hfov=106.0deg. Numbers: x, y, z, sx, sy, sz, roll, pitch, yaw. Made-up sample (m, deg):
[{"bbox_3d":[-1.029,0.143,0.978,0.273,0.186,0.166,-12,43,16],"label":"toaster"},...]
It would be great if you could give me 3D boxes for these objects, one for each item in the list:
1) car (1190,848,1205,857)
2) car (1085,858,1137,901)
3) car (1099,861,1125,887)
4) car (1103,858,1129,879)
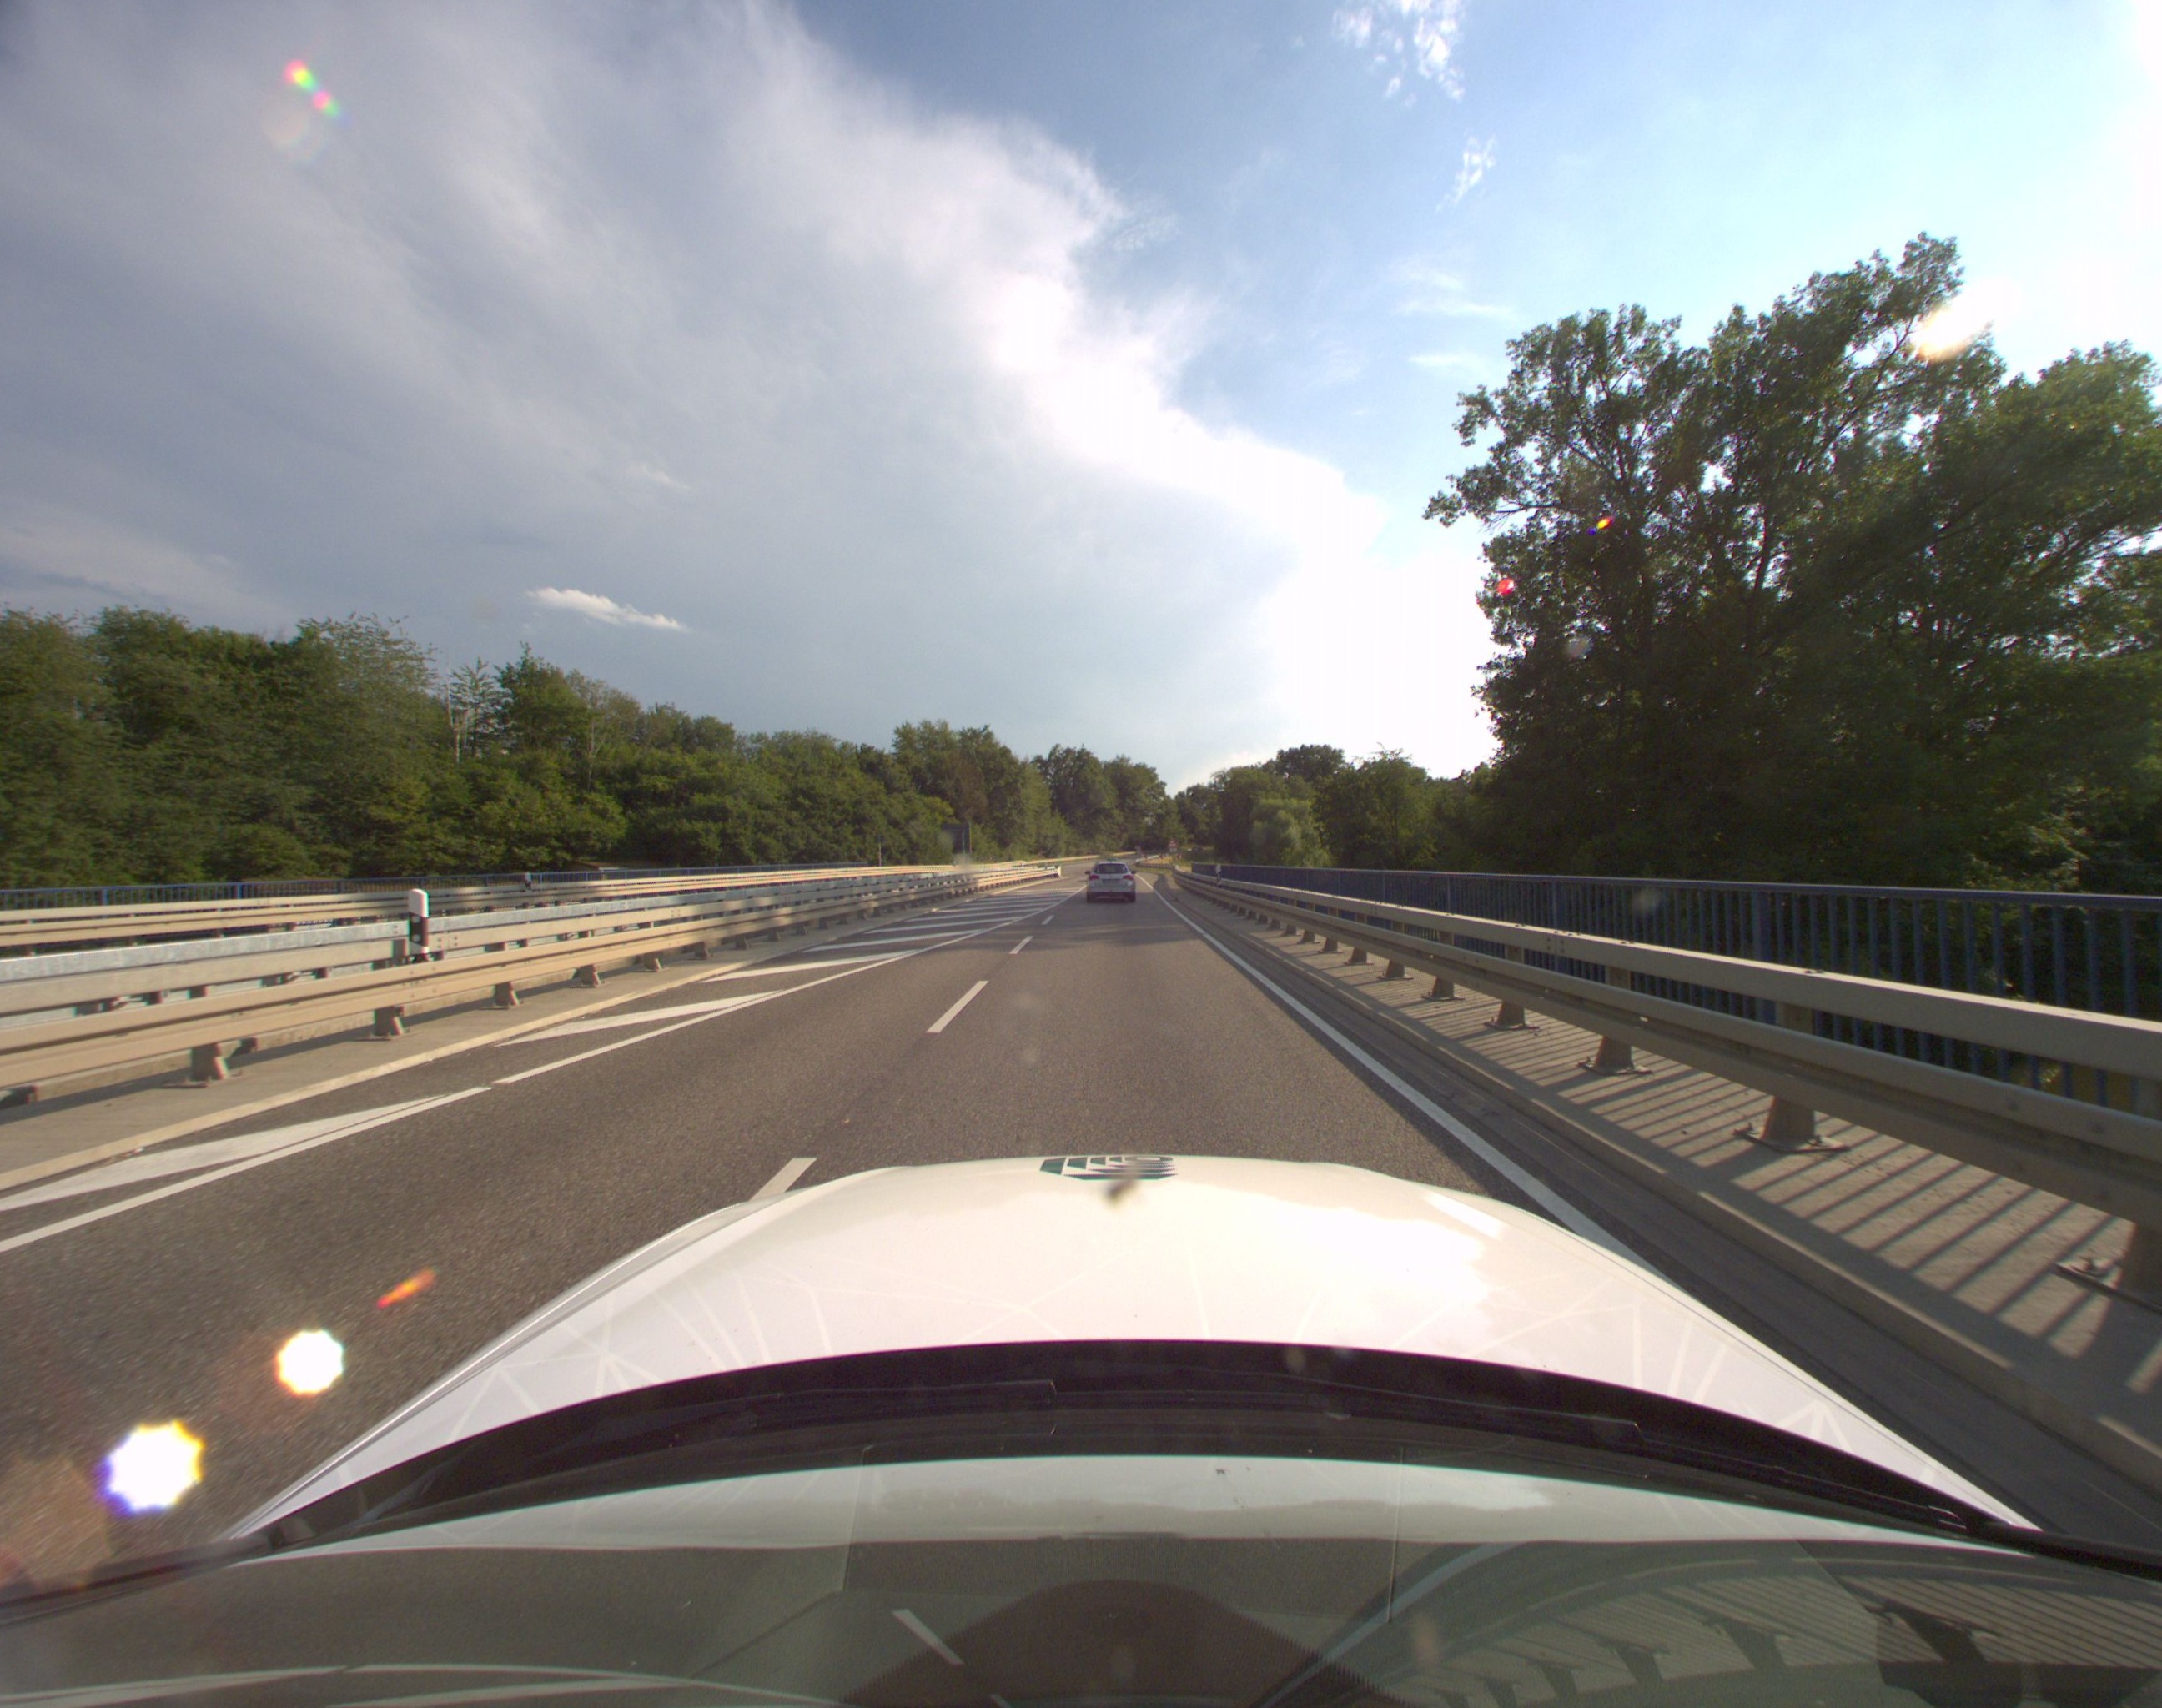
[{"bbox_3d":[25.692,-0.306,179.297,1.975,2.014,4.023,-1,-2,27],"label":"car"},{"bbox_3d":[1.090,0.961,30.483,1.802,1.486,4.000,-1,-2,1],"label":"car"},{"bbox_3d":[2.436,1.586,64.961,1.986,2.014,4.000,-1,-2,1],"label":"car"},{"bbox_3d":[2.460,1.056,58.127,1.802,1.486,4.000,-1,-2,1],"label":"car"}]
